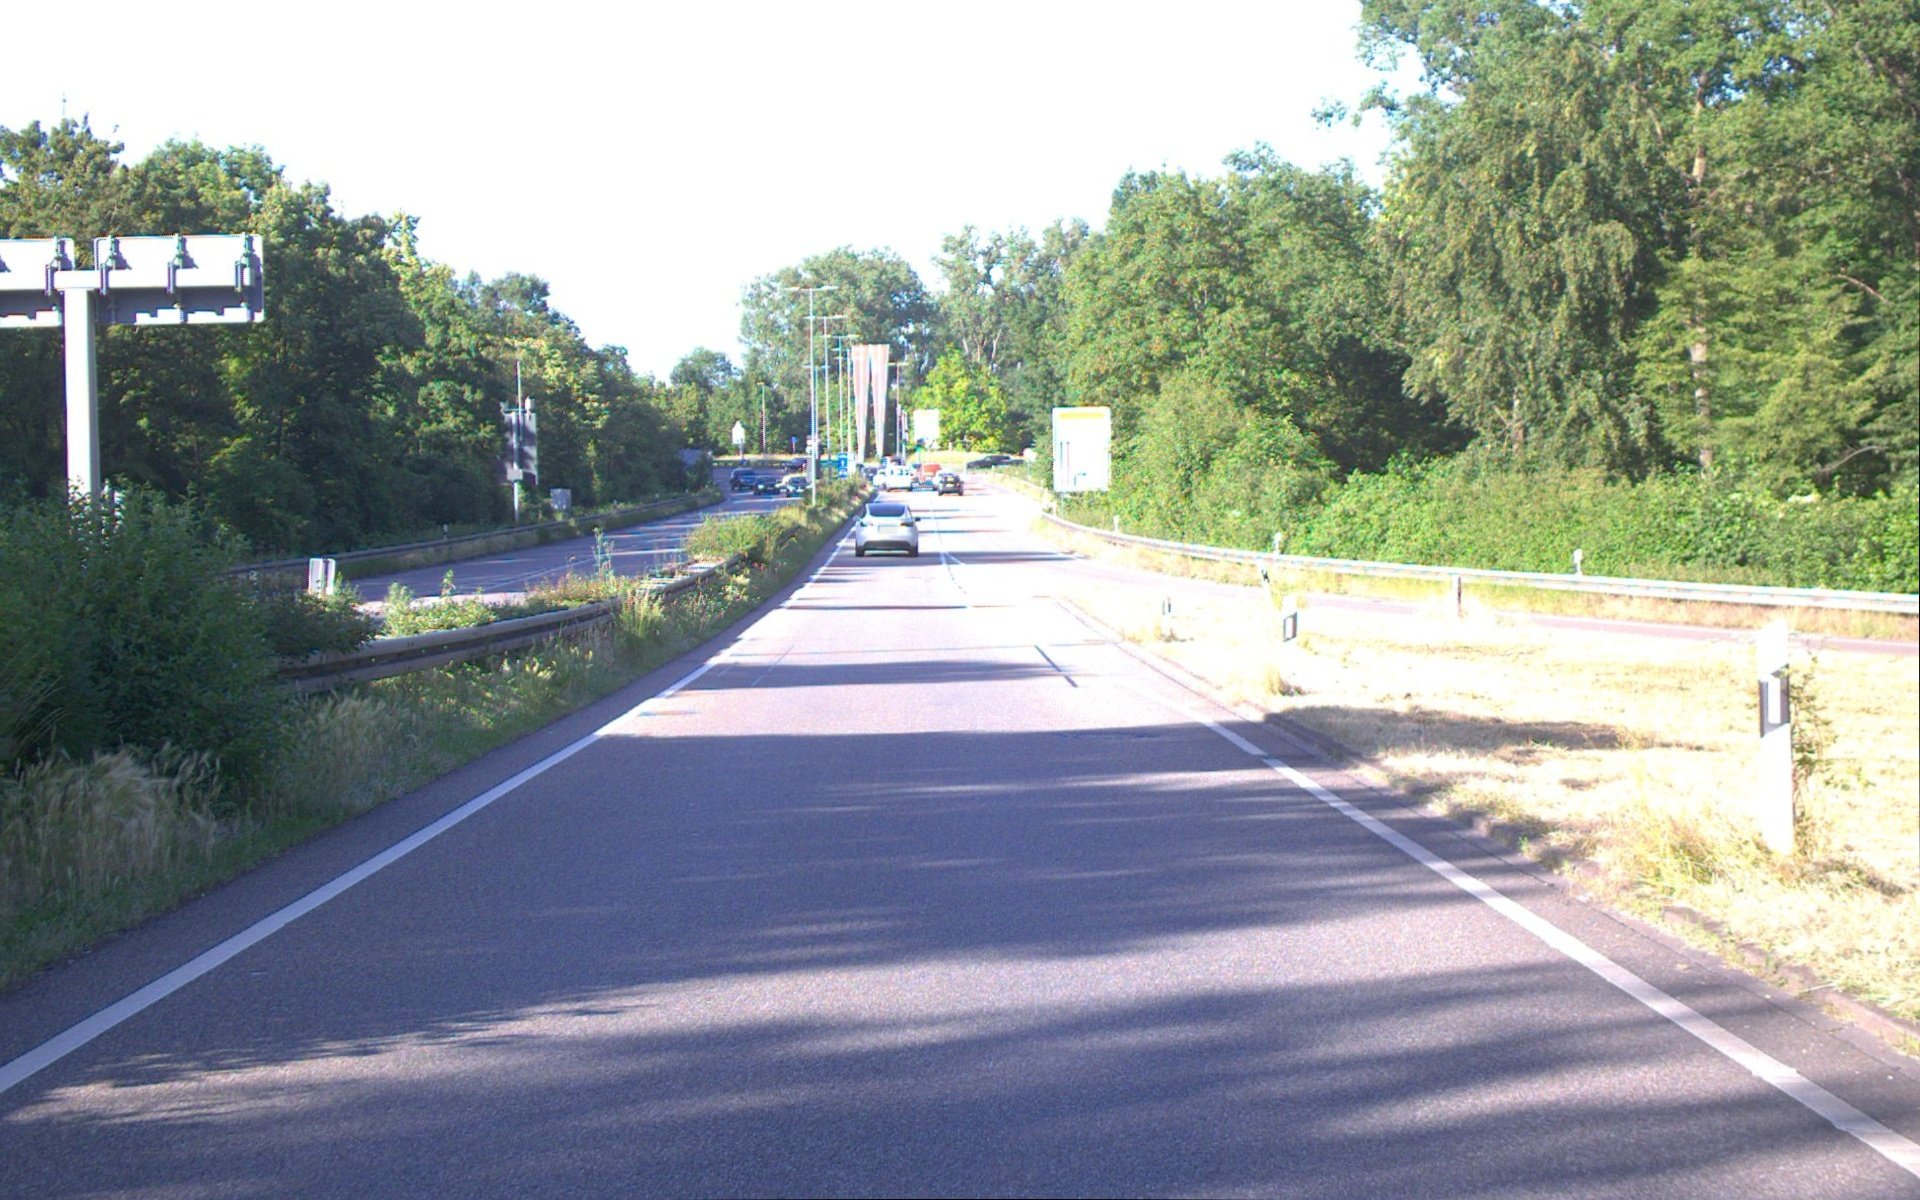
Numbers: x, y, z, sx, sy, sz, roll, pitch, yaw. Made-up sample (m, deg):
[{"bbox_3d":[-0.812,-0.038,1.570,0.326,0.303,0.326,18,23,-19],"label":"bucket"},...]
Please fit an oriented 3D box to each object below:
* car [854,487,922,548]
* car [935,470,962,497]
[{"bbox_3d":[-2.232,-2.540,105.827,1.884,1.809,4.001,1,2,-4],"label":"car"},{"bbox_3d":[-0.828,-8.219,242.846,1.798,1.823,3.417,2,1,1],"label":"car"}]
